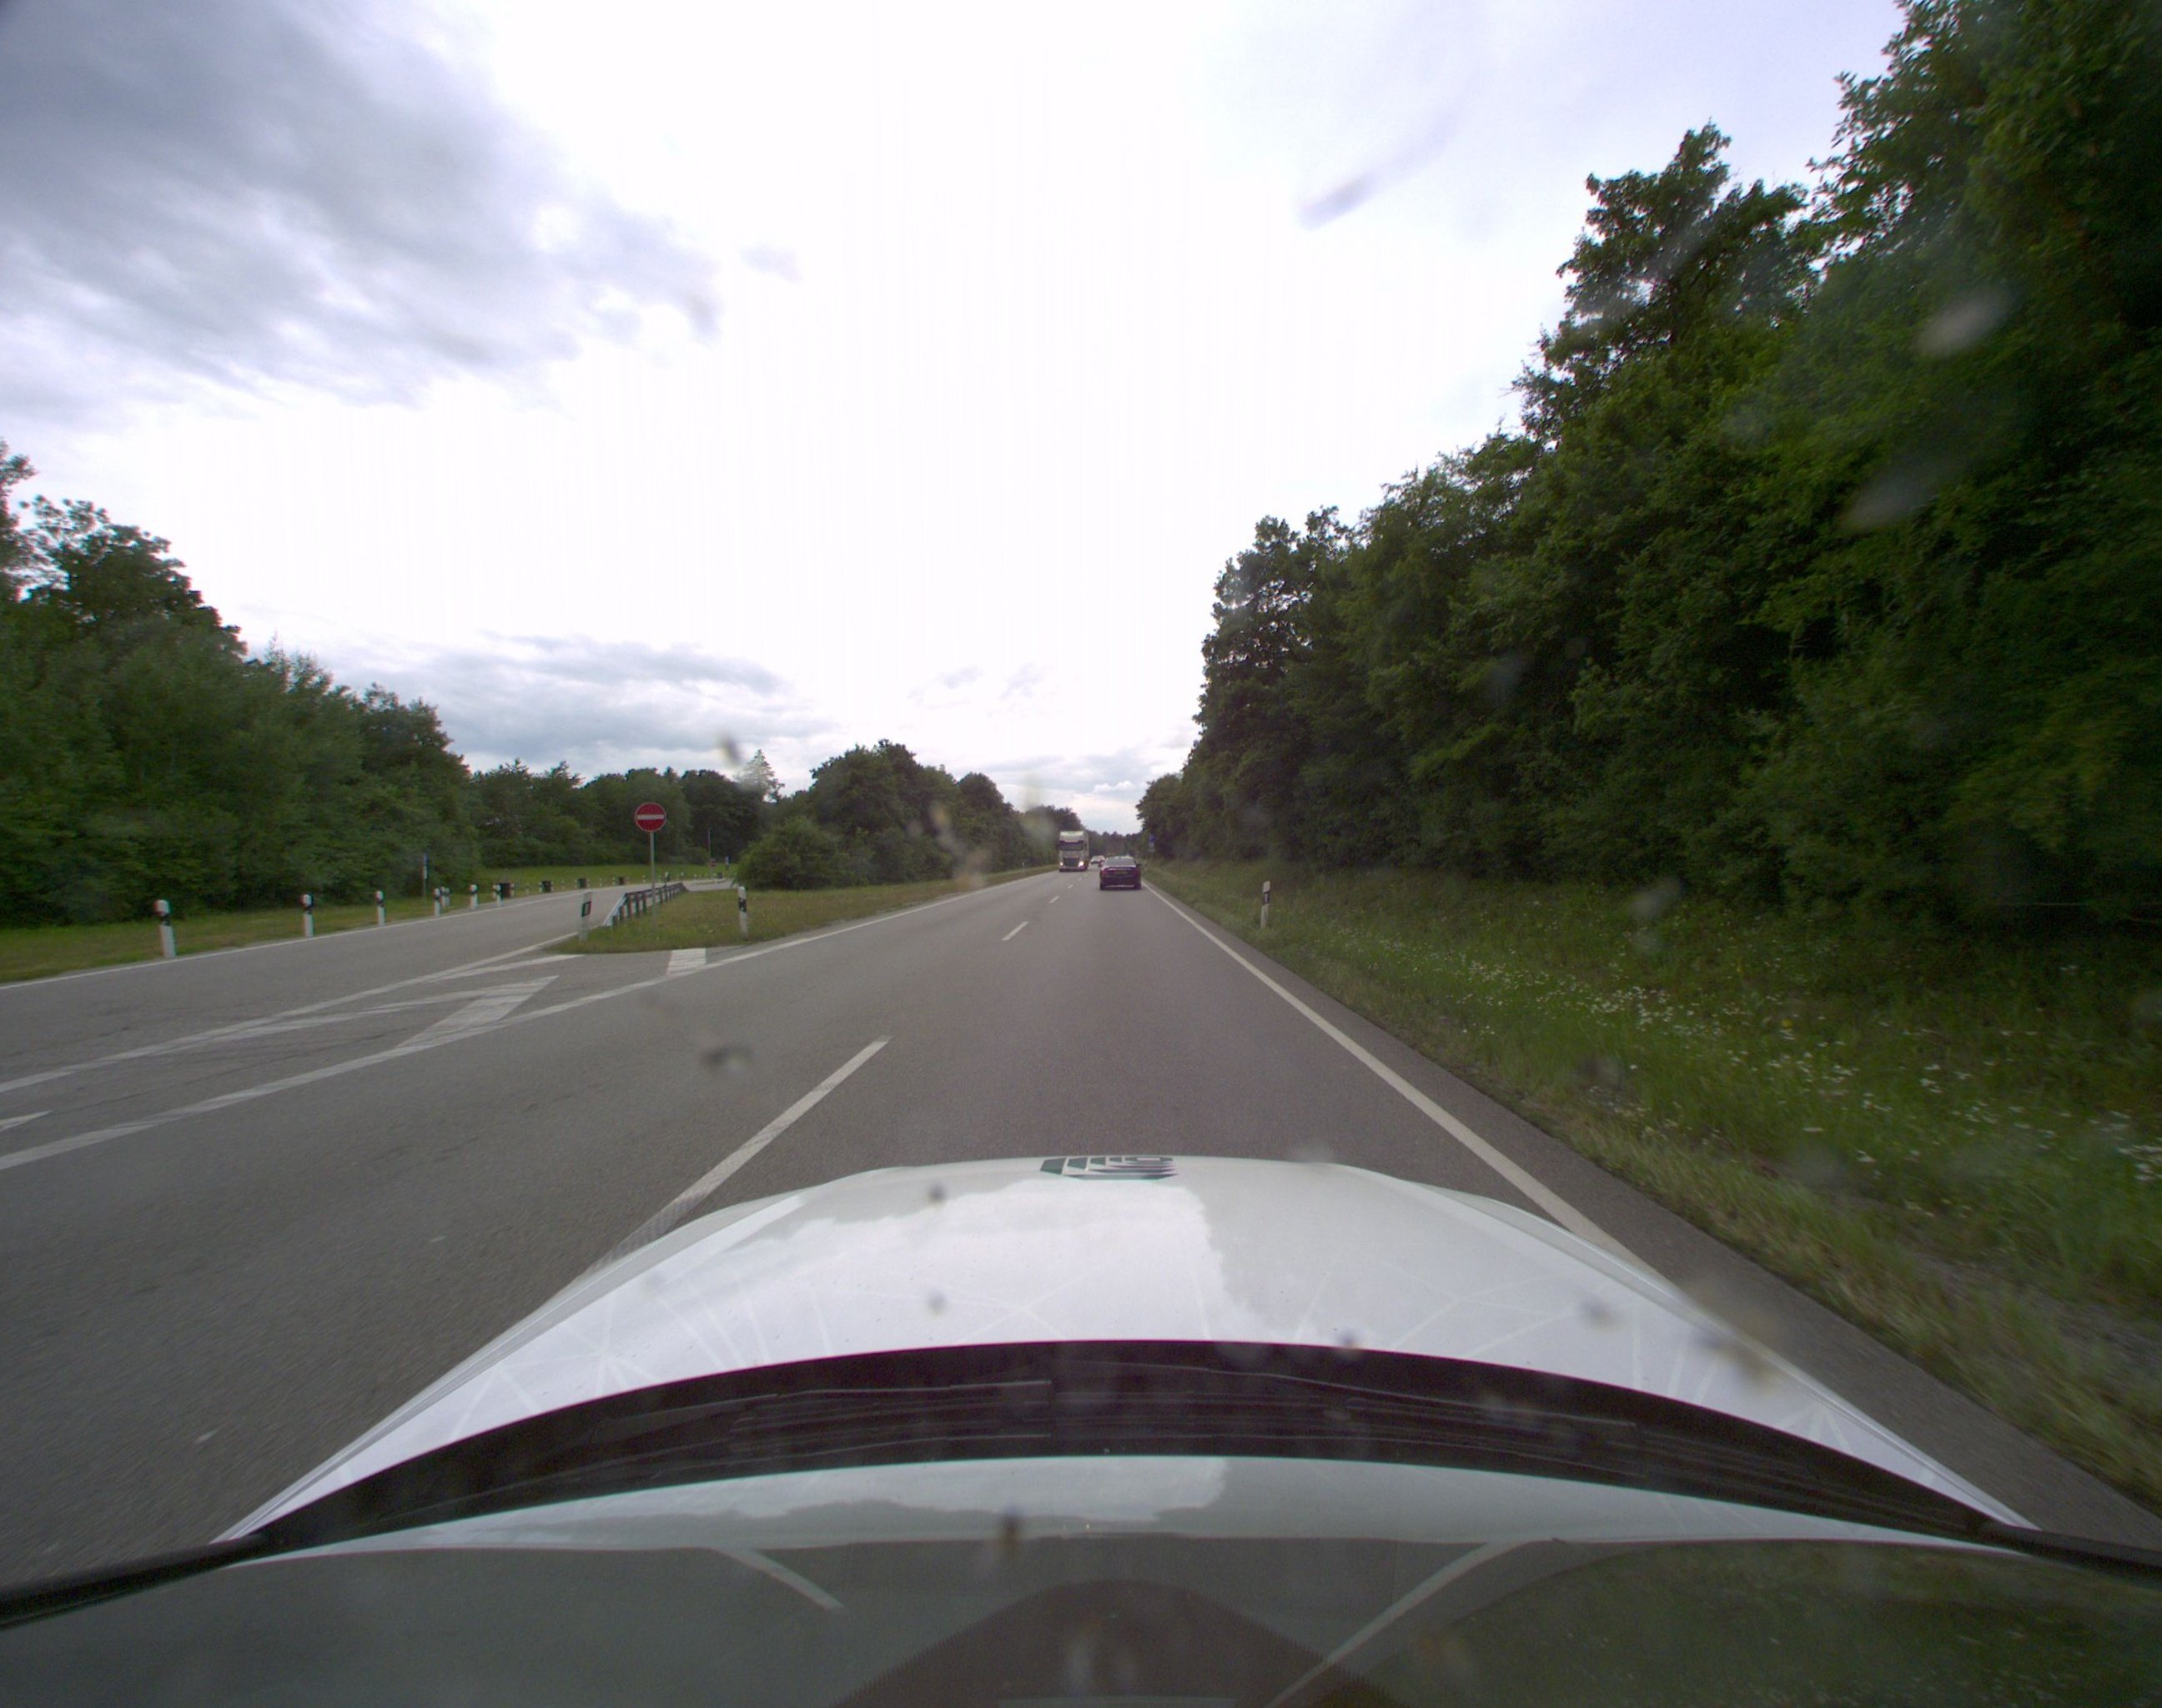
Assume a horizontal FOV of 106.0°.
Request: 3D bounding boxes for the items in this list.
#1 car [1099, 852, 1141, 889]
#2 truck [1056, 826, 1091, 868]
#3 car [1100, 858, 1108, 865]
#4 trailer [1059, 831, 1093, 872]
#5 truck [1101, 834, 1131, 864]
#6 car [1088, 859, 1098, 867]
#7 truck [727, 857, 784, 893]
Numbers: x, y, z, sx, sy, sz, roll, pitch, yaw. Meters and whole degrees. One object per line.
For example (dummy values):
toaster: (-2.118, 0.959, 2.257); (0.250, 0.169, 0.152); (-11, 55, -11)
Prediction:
car: (1.730, 0.724, 37.174); (1.785, 1.552, 4.000); (0, 0, 1)
truck: (-0.636, -0.679, 84.491); (3.177, 4.062, 9.580); (-1, 0, 2)
car: (5.467, 1.726, 193.550); (1.956, 1.574, 5.455); (-1, 0, 3)
trailer: (-0.410, -0.209, 90.129); (3.191, 4.067, 14.278); (0, 0, 2)
truck: (4.606, -0.576, 103.878); (3.265, 3.611, 11.415); (-1, 0, 5)
car: (2.249, 1.663, 147.910); (1.719, 1.434, 4.505); (-1, 0, 2)
truck: (-28.655, 1.794, 72.064); (1.986, 3.012, 7.229); (0, 0, 2)
